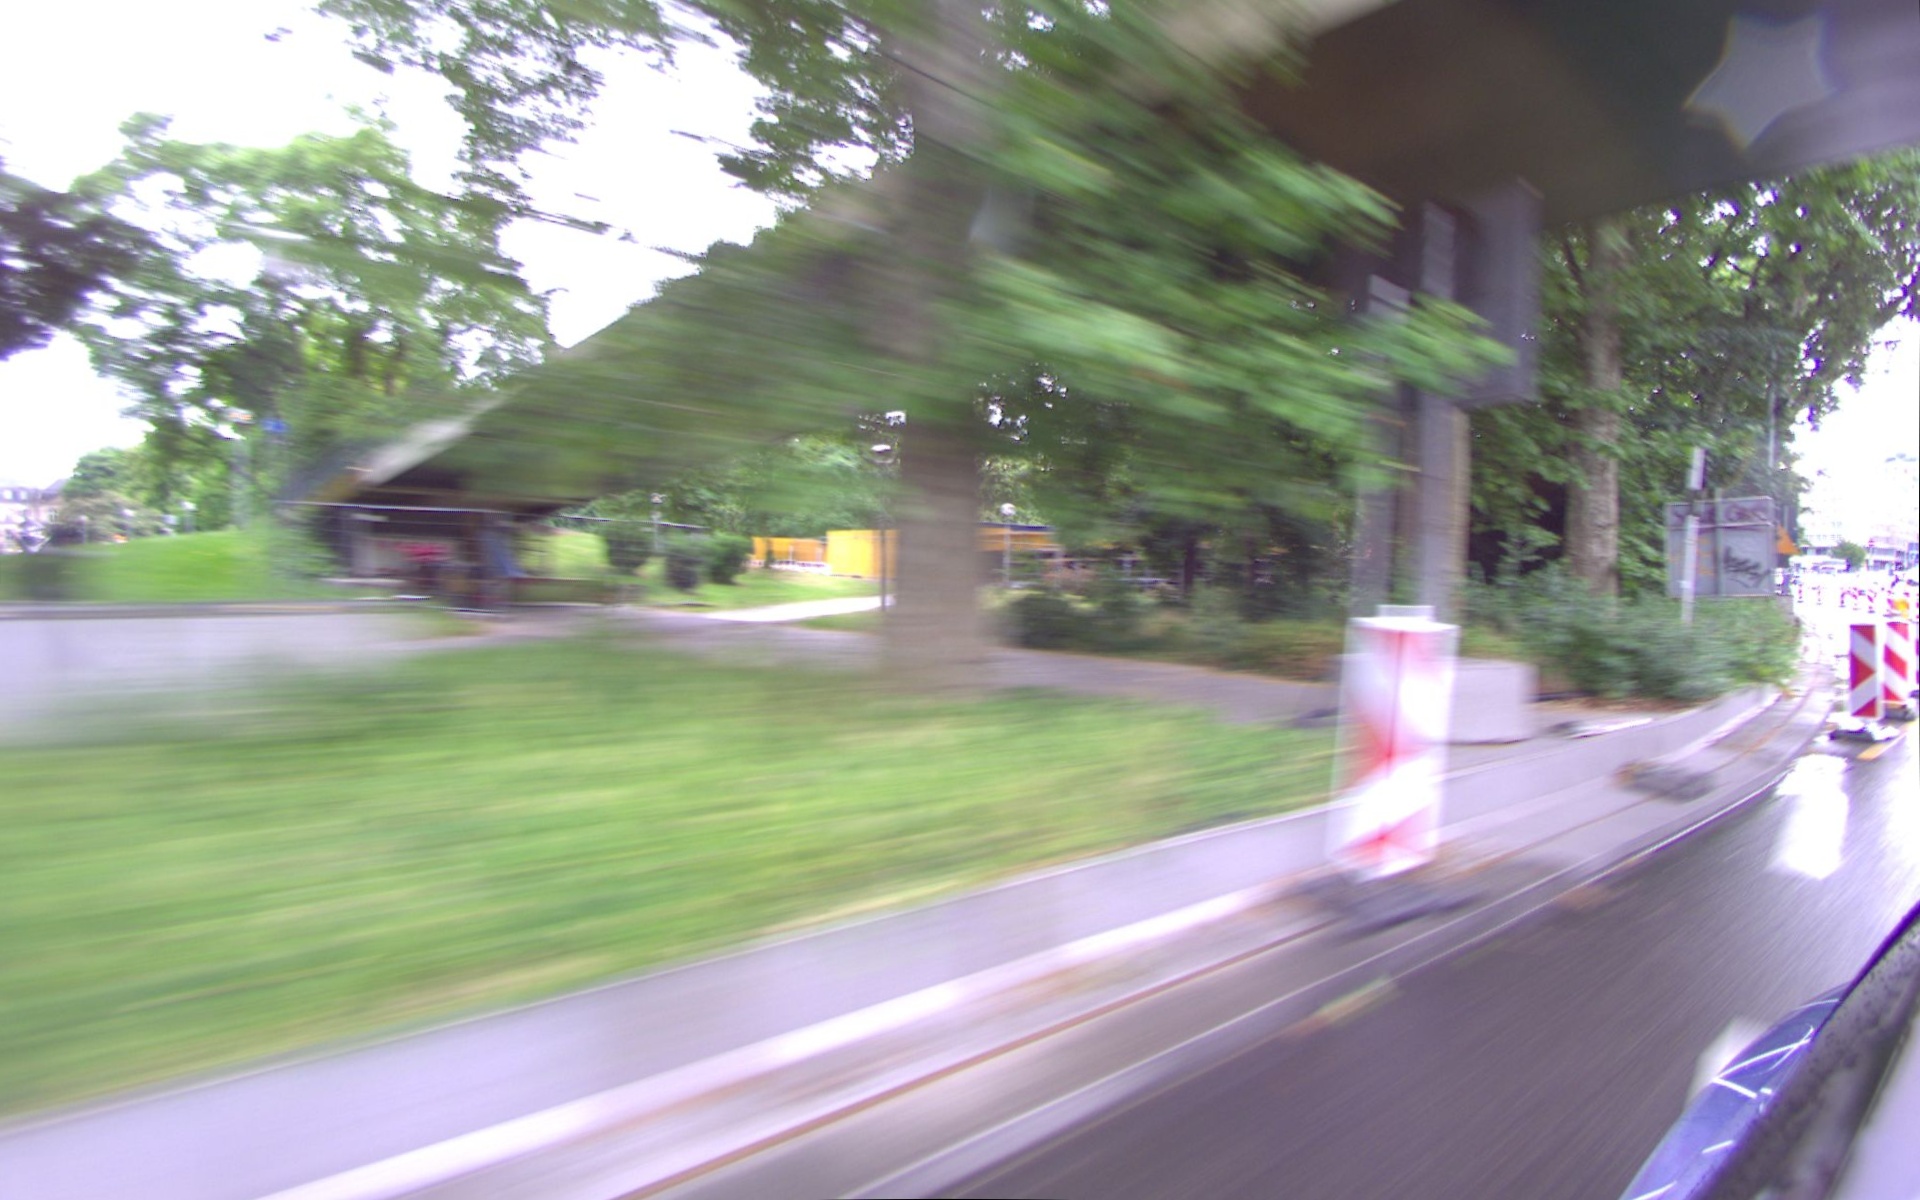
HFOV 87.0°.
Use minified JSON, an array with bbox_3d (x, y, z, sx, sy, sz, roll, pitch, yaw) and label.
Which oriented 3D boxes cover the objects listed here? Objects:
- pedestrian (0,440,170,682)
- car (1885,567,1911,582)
[{"bbox_3d":[-8.043,-0.350,9.100,1.034,2.039,1.037,1,1,7],"label":"pedestrian"},{"bbox_3d":[114.863,-3.127,123.949,1.992,1.836,4.231,3,3,40],"label":"car"}]
